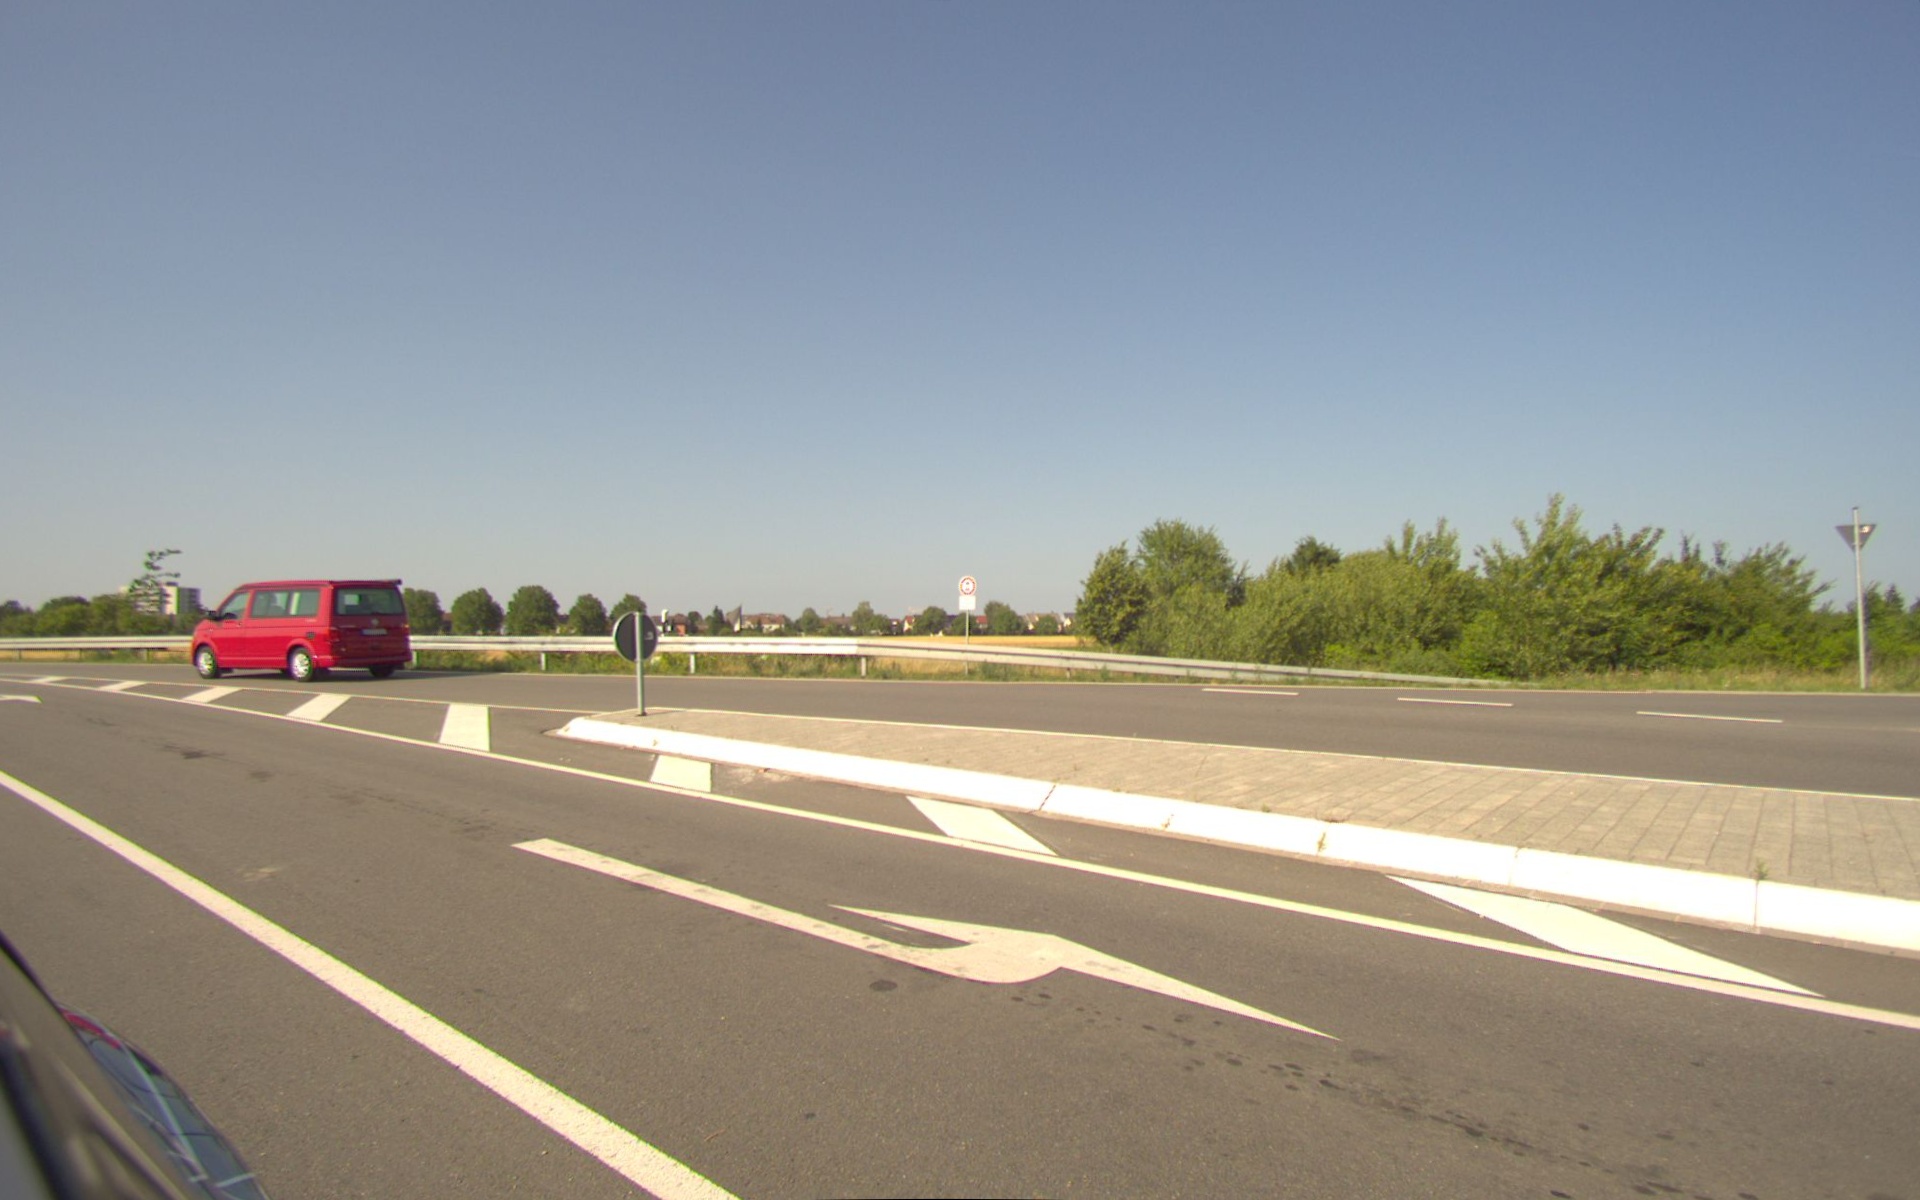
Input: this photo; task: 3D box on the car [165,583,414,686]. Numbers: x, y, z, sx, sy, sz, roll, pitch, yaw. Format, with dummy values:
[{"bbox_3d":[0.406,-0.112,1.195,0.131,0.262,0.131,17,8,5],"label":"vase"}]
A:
[{"bbox_3d":[-13.826,0.694,20.841,4.892,1.955,1.826,-1,0,22],"label":"car"}]
